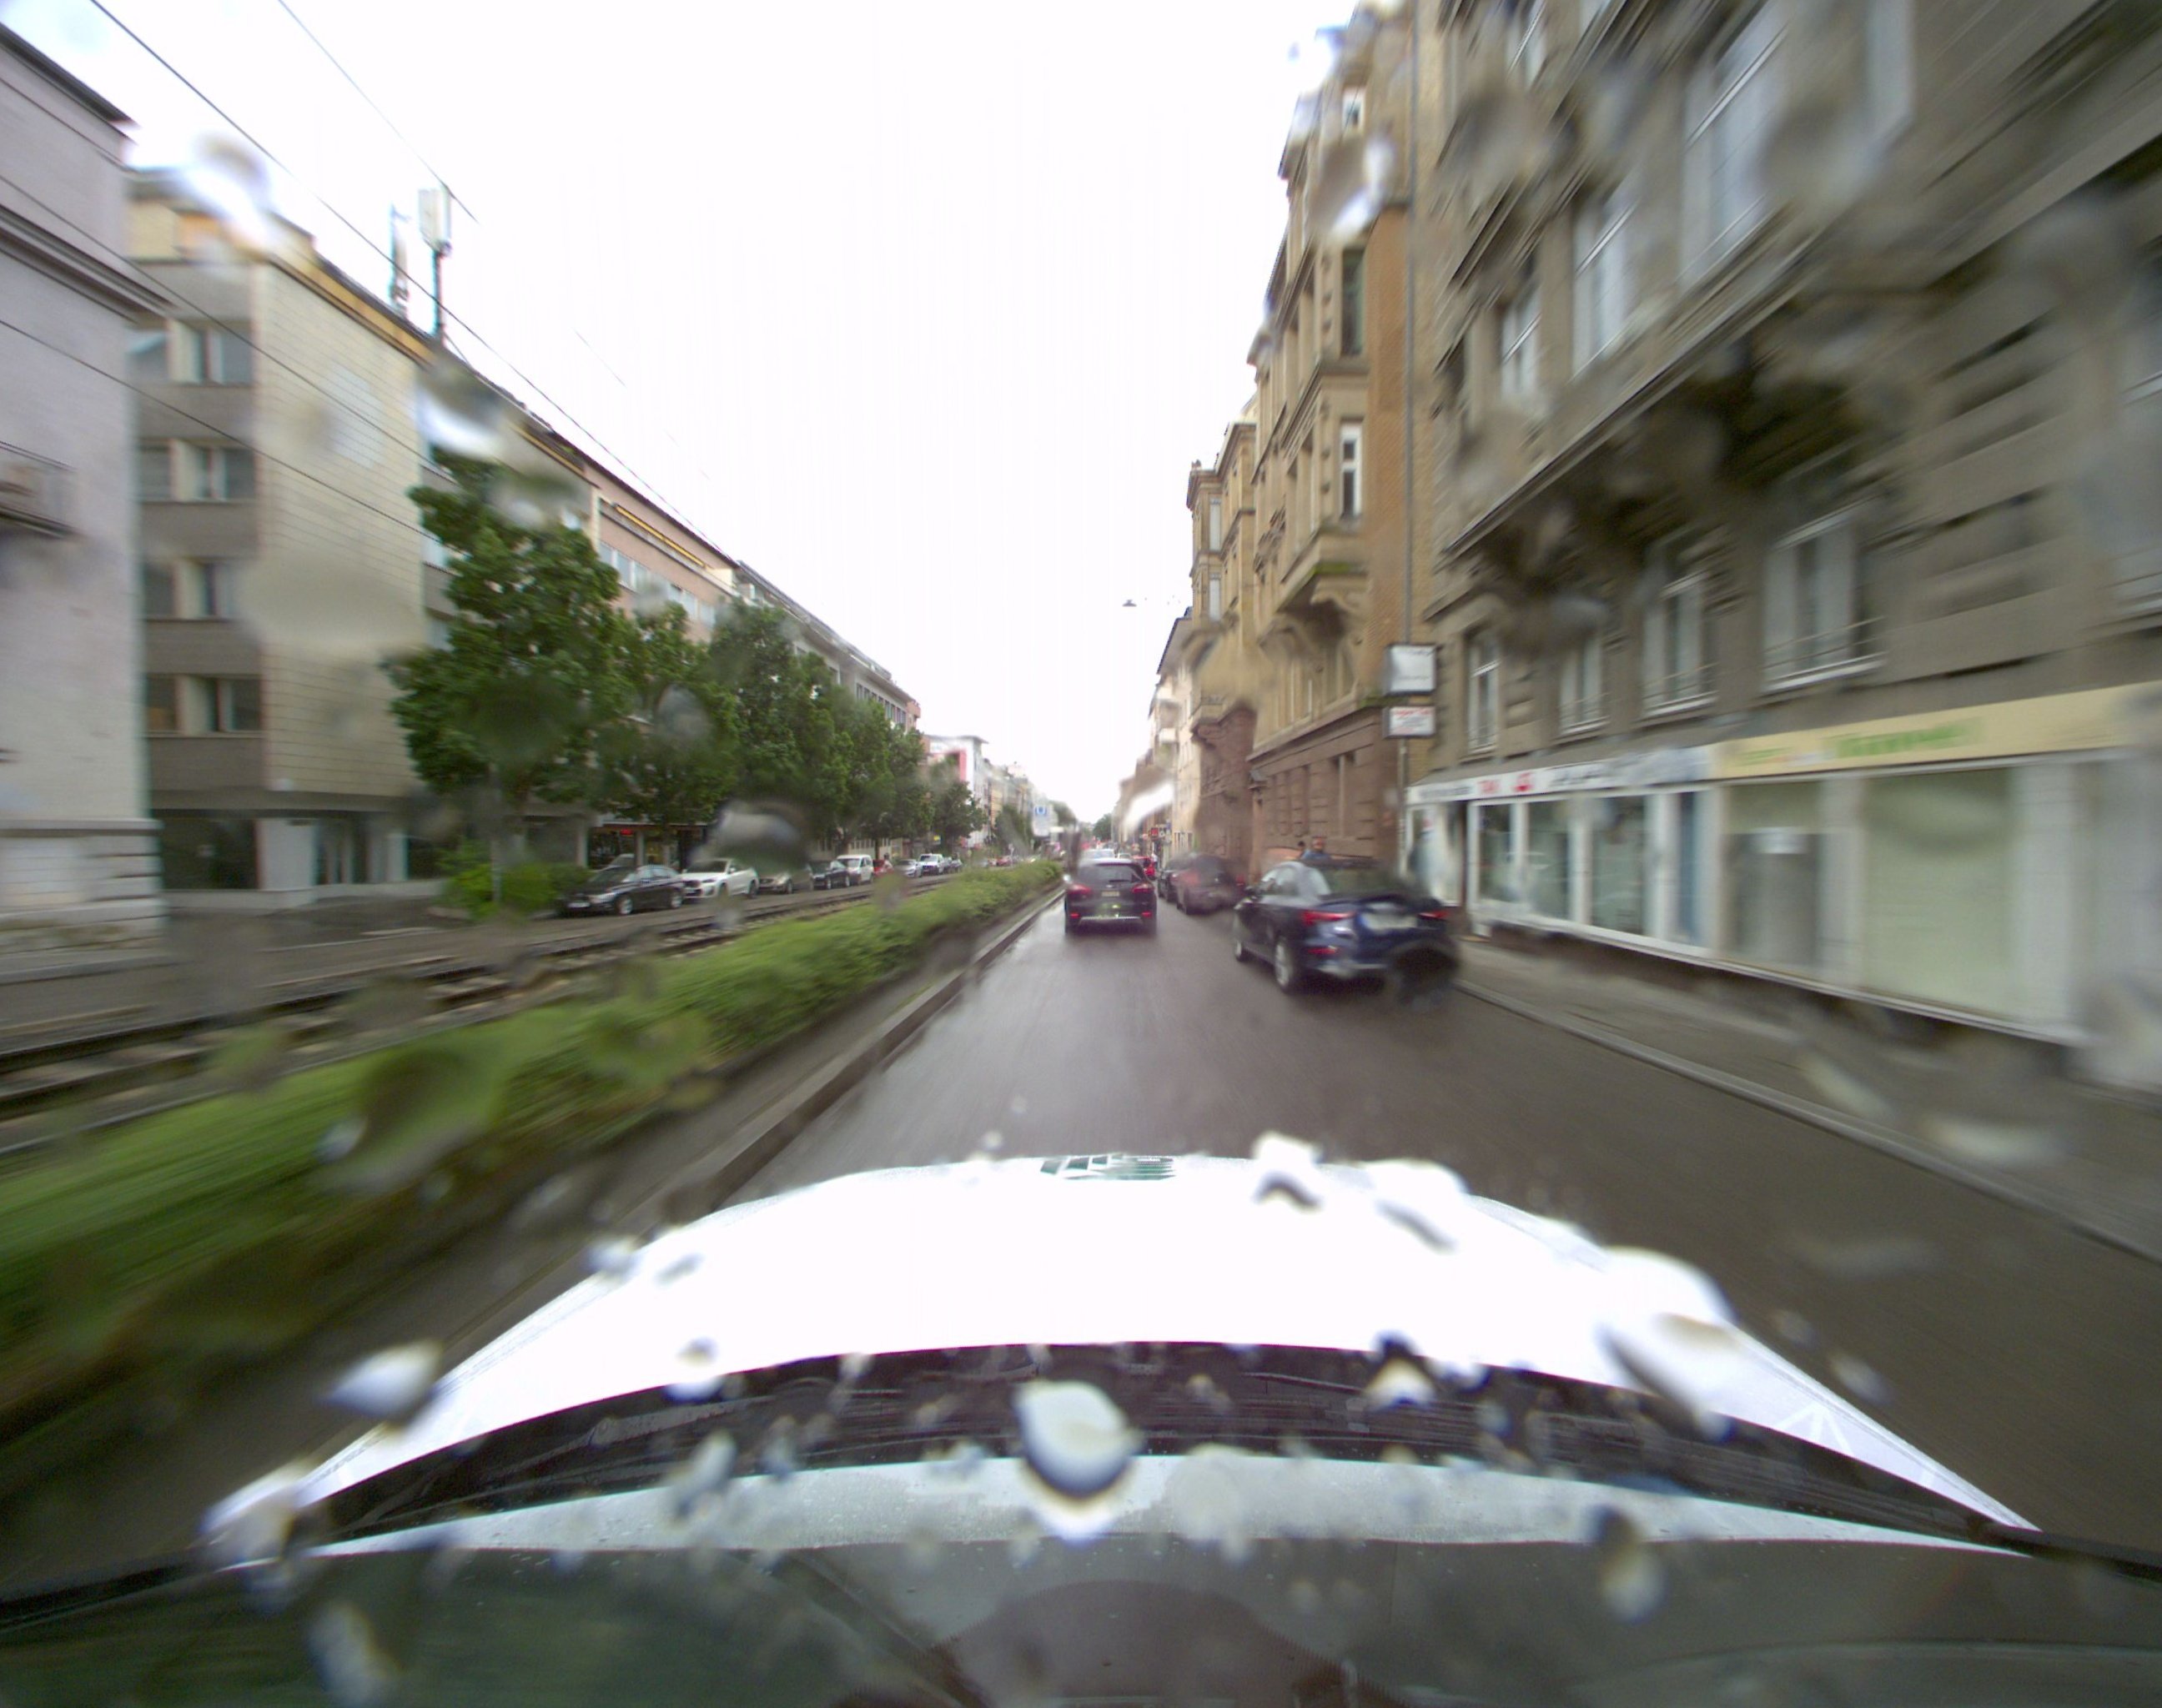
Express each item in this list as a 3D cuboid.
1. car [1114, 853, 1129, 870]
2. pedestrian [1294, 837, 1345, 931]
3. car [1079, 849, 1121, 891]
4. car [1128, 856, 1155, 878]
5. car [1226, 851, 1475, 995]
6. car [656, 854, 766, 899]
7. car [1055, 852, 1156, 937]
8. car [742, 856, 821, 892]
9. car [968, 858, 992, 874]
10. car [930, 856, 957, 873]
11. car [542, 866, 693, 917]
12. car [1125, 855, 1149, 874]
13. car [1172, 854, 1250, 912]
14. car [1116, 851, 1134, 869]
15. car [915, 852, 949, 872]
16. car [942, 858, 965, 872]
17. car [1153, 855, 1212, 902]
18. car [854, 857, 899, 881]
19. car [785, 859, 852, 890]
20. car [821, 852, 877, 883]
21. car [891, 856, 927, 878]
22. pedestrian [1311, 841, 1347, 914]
[{"bbox_3d":[4.704,0.856,94.156,1.585,1.781,3.780,2,-2,2],"label":"car"},{"bbox_3d":[4.809,0.588,16.499,0.700,1.819,0.961,-3,1,1],"label":"pedestrian"},{"bbox_3d":[1.022,0.757,41.747,1.980,2.060,4.649,0,0,3],"label":"car"},{"bbox_3d":[4.120,0.892,55.584,1.664,1.421,3.476,-1,-1,1],"label":"car"},{"bbox_3d":[3.020,0.726,10.123,1.785,1.407,4.258,0,-1,2],"label":"car"},{"bbox_3d":[-13.729,0.839,30.566,1.848,1.549,4.721,1,-2,2],"label":"car"},{"bbox_3d":[0.426,0.764,16.895,1.837,1.507,3.998,-1,-1,-1],"label":"car"},{"bbox_3d":[-13.528,0.923,37.073,1.848,1.549,4.432,1,-2,2],"label":"car"},{"bbox_3d":[-10.509,1.297,85.005,1.848,1.637,4.047,1,-2,2],"label":"car"},{"bbox_3d":[-12.953,1.041,77.025,1.688,1.574,4.047,1,-2,2],"label":"car"},{"bbox_3d":[-13.727,1.090,24.508,1.687,1.378,4.721,1,-2,2],"label":"car"},{"bbox_3d":[4.238,0.784,62.134,1.664,1.421,3.476,-1,-1,1],"label":"car"},{"bbox_3d":[3.479,0.748,22.311,1.643,1.460,3.477,-1,-1,2],"label":"car"},{"bbox_3d":[4.722,0.630,88.049,1.832,1.781,3.780,2,-2,2],"label":"car"},{"bbox_3d":[-12.860,0.722,70.557,1.848,1.637,4.936,1,-2,2],"label":"car"},{"bbox_3d":[-12.953,1.164,82.656,1.545,1.395,4.047,1,-2,2],"label":"car"},{"bbox_3d":[3.402,0.799,27.898,1.572,1.460,3.821,-1,-1,0],"label":"car"},{"bbox_3d":[-13.445,1.022,53.811,1.848,1.527,4.047,1,-2,2],"label":"car"},{"bbox_3d":[-13.355,1.044,41.747,1.848,1.418,4.432,-2,-2,1],"label":"car"},{"bbox_3d":[-13.476,0.811,47.593,1.848,1.701,4.432,1,-2,2],"label":"car"},{"bbox_3d":[-12.835,1.004,61.023,1.661,1.558,4.047,1,-2,2],"label":"car"},{"bbox_3d":[5.495,0.522,18.093,0.517,1.579,0.677,-3,-2,1],"label":"pedestrian"}]
